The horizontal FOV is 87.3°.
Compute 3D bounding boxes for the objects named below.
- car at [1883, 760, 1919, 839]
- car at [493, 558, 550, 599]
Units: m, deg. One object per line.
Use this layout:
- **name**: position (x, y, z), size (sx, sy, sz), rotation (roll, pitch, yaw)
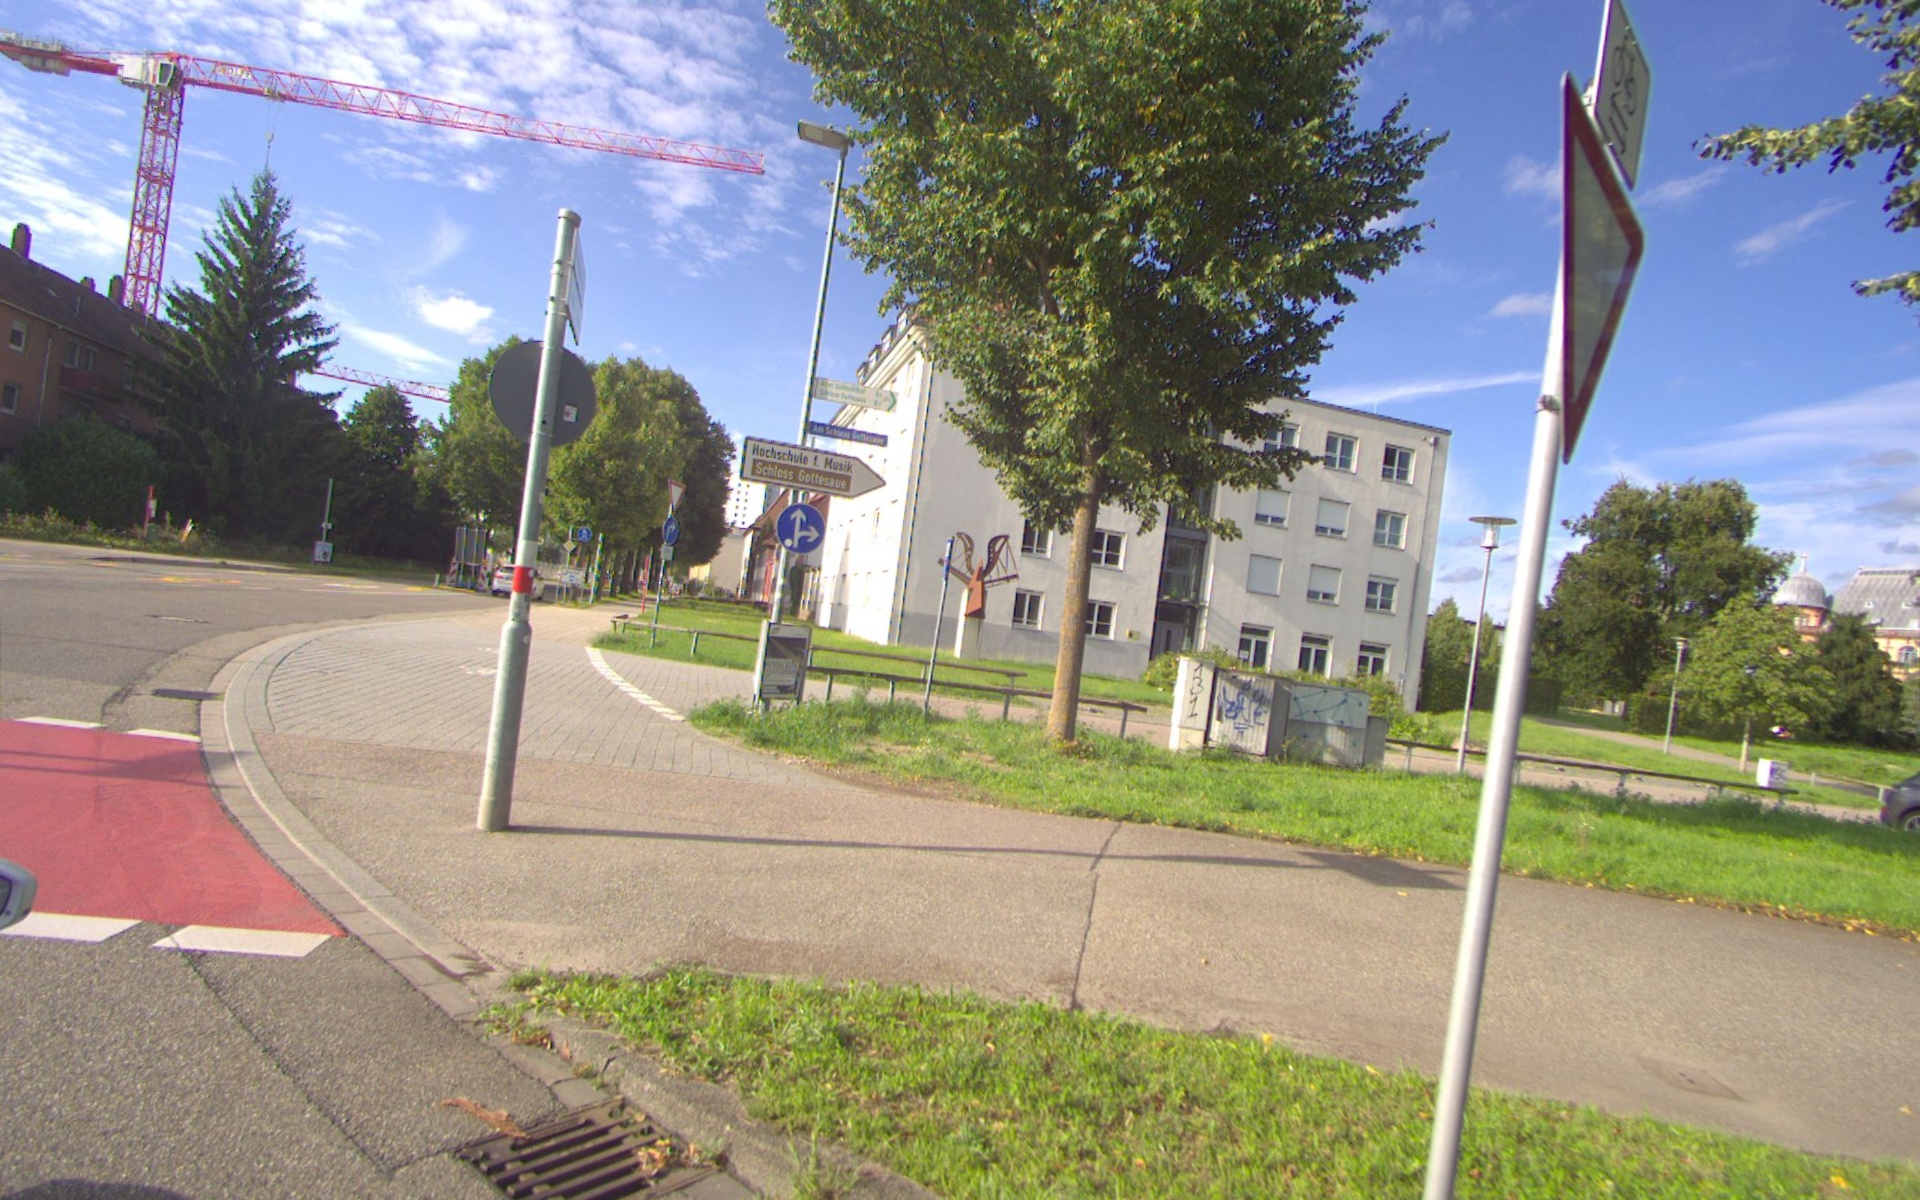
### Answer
- **car**: position (19.444, 3.943, 17.616), size (1.832, 1.397, 4.505), rotation (8, -1, -13)
- **car**: position (-20.908, -0.980, 48.154), size (1.830, 1.590, 4.440), rotation (9, -2, -17)
